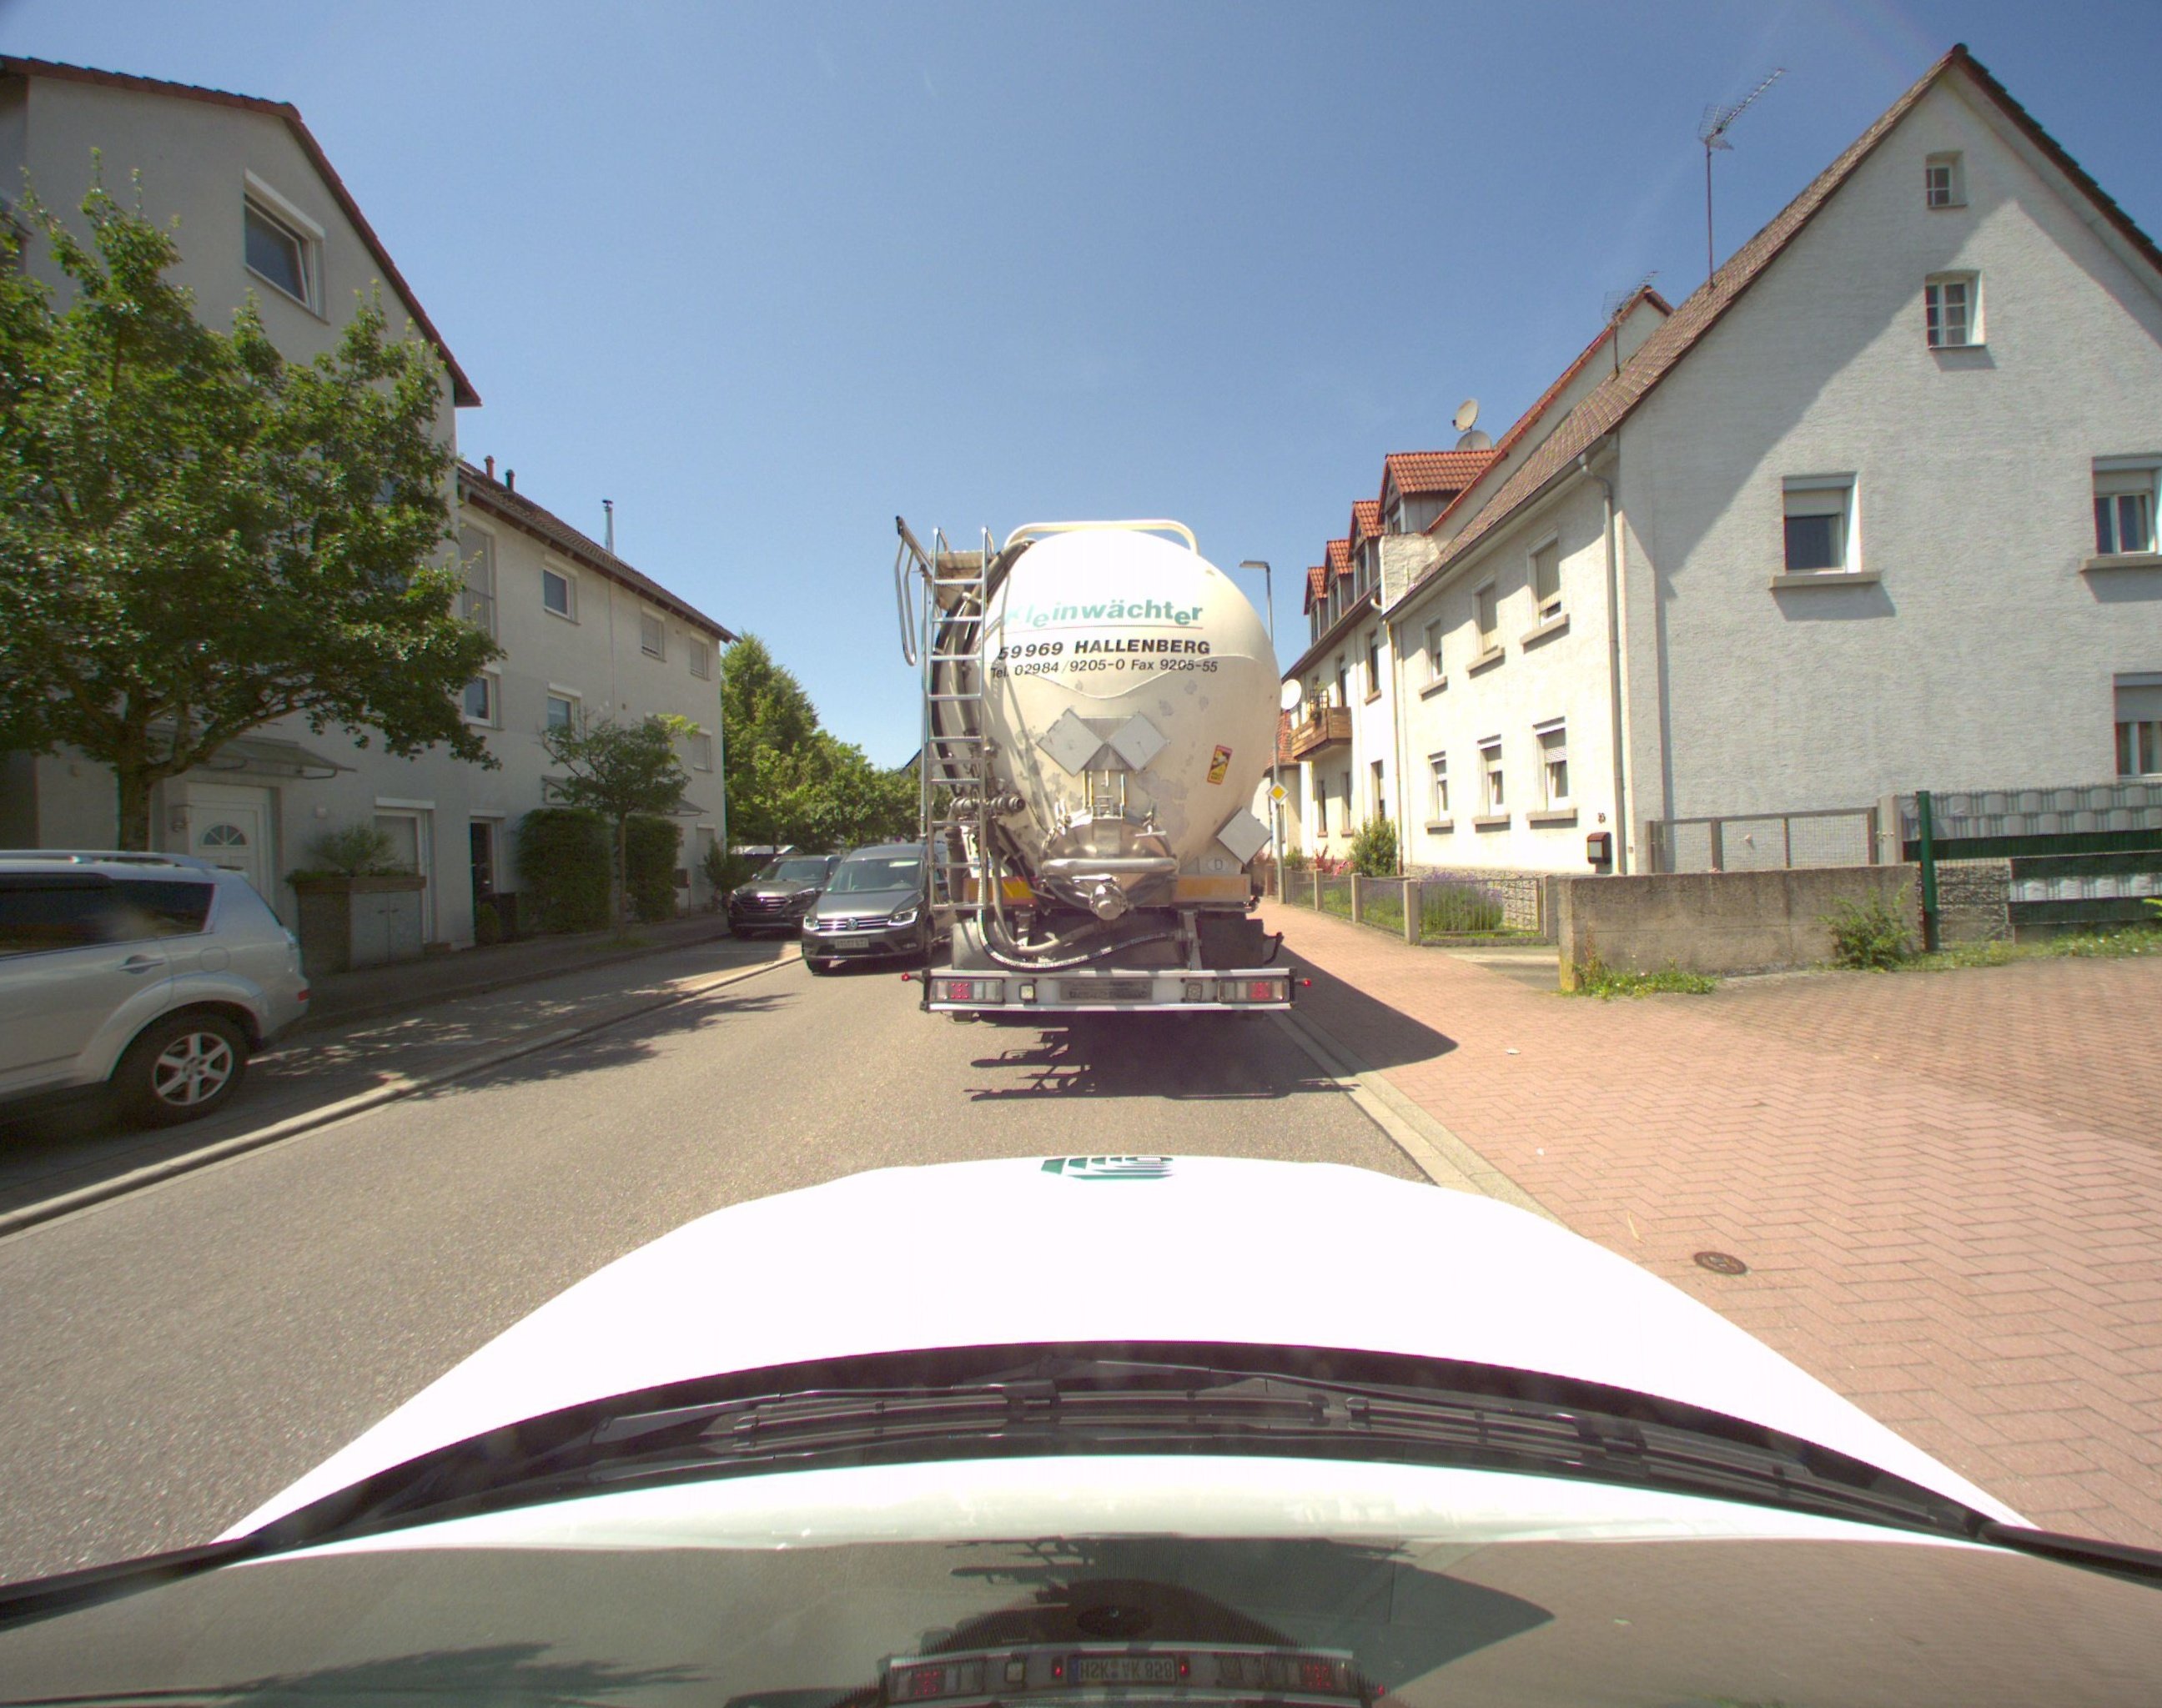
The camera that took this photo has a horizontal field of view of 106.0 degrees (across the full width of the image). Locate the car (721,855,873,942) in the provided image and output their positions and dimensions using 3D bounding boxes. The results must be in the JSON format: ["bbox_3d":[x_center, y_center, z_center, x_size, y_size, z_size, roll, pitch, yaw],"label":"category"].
[{"bbox_3d":[-5.923,0.853,17.497,1.685,1.620,3.999,-1,0,2],"label":"car"}]

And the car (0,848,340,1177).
[{"bbox_3d":[-6.406,0.828,3.788,1.700,1.686,4.526,-1,0,1],"label":"car"}]

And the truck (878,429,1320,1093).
[{"bbox_3d":[0.275,-0.574,9.774,2.631,4.015,9.566,-1,0,2],"label":"truck"}]

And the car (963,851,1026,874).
[{"bbox_3d":[-6.847,0.673,64.762,4.597,1.651,1.745,-2,0,9],"label":"car"}]

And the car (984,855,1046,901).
[{"bbox_3d":[-2.367,0.828,30.274,1.712,1.446,4.257,-4,0,2],"label":"car"}]

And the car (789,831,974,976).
[{"bbox_3d":[-2.973,0.655,13.144,1.649,1.855,4.466,-3,0,2],"label":"car"}]
